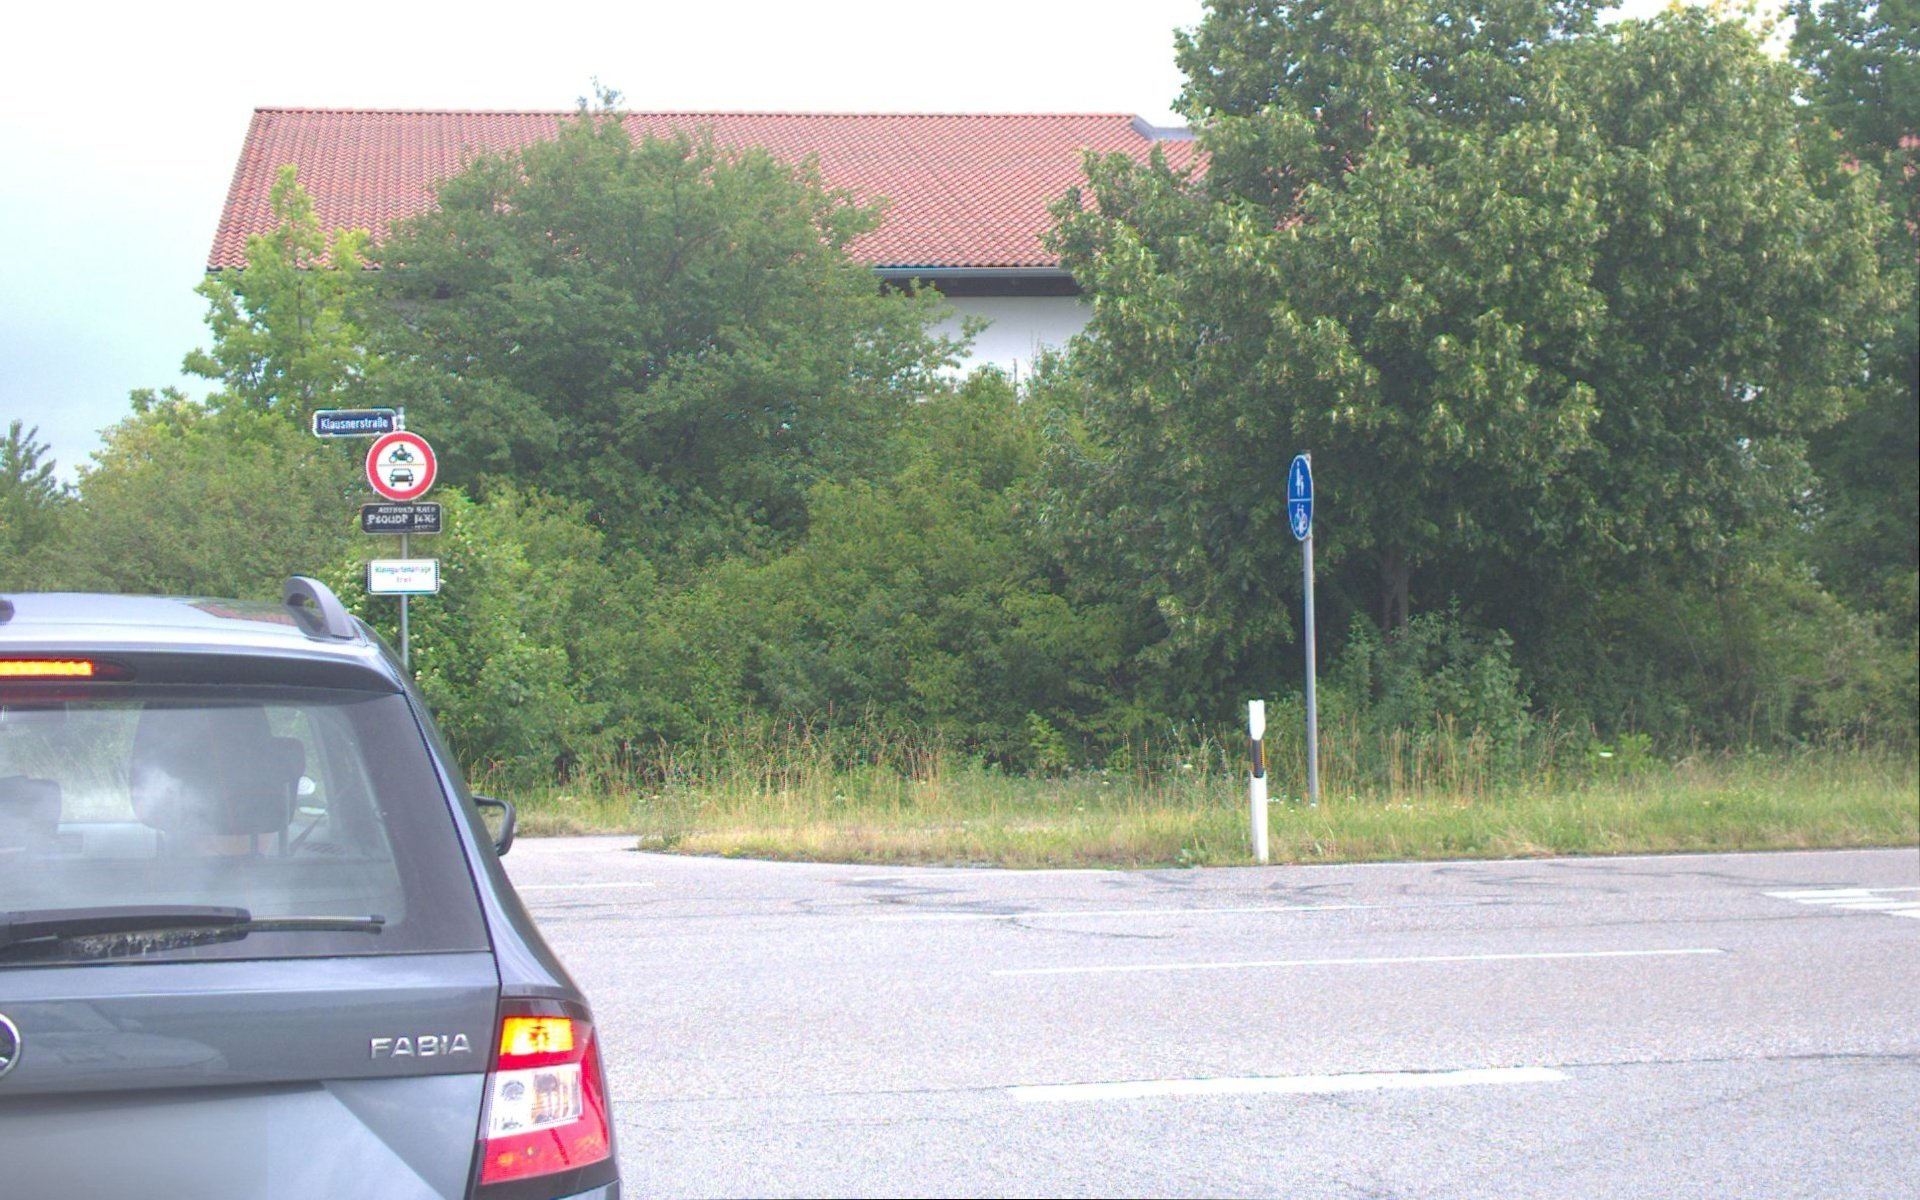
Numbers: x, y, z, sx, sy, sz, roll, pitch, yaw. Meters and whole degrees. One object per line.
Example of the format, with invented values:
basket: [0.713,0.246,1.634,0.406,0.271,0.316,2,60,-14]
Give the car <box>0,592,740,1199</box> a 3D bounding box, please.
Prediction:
car: [-1.613,0.712,5.651,1.712,1.442,4.118,0,0,-15]
